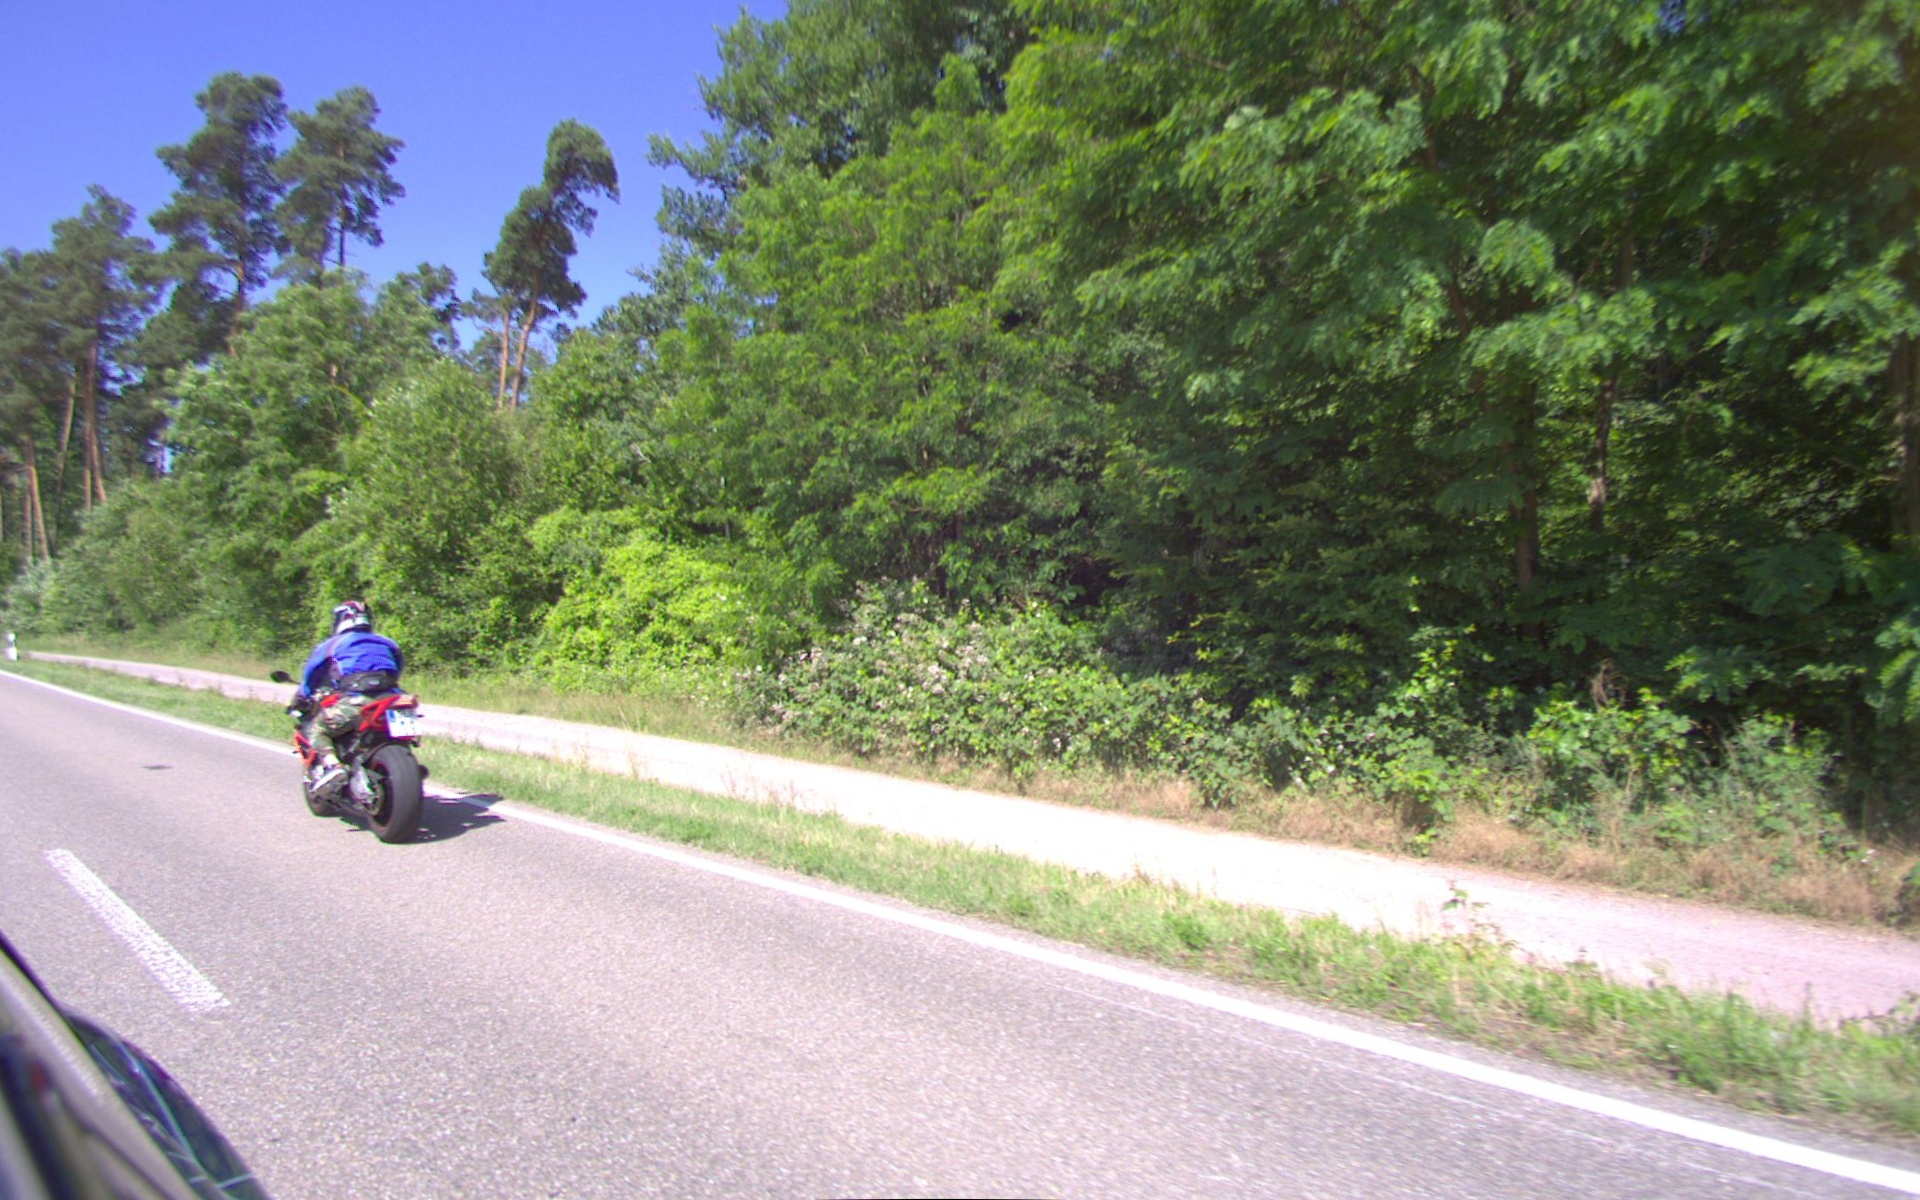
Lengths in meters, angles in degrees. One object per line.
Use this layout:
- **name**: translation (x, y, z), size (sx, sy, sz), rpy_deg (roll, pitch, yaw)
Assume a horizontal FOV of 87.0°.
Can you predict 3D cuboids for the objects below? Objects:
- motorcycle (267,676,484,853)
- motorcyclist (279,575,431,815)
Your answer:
- **motorcycle**: translation (-4.066, 1.053, 6.967), size (2.005, 0.992, 0.632), rpy_deg (-1, -4, 41)
- **motorcyclist**: translation (-4.199, 0.625, 7.026), size (0.813, 1.540, 0.653), rpy_deg (-2, -2, 39)
